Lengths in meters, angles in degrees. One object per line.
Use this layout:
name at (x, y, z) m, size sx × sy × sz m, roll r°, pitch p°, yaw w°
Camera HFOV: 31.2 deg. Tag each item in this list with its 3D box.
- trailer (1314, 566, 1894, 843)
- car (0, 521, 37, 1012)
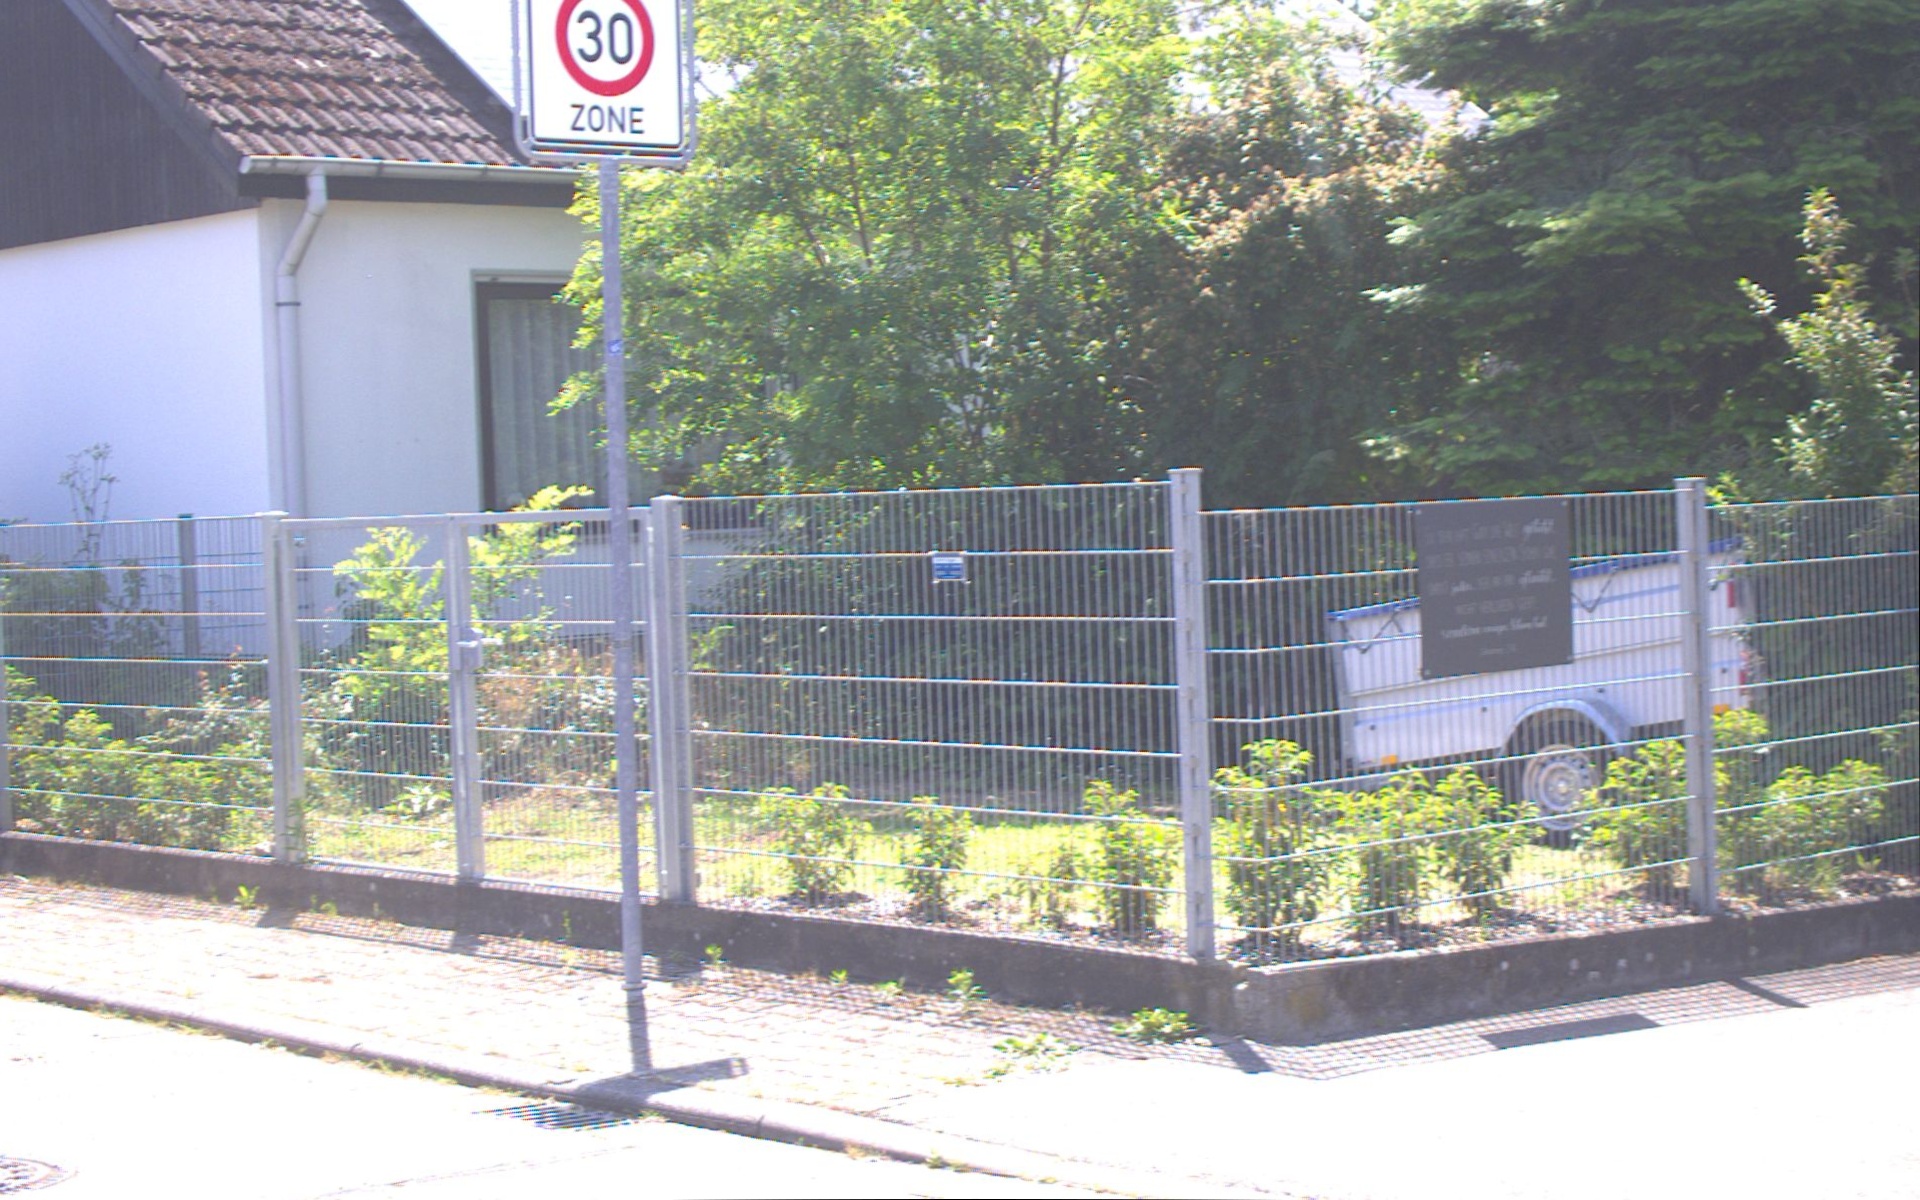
trailer at (2.796, 0.423, 15.065) m, size 2.220 × 1.080 × 1.104 m, roll 0°, pitch 2°, yaw 41°
car at (-5.442, 0.596, 12.832) m, size 1.964 × 1.656 × 4.680 m, roll -3°, pitch 2°, yaw -41°
